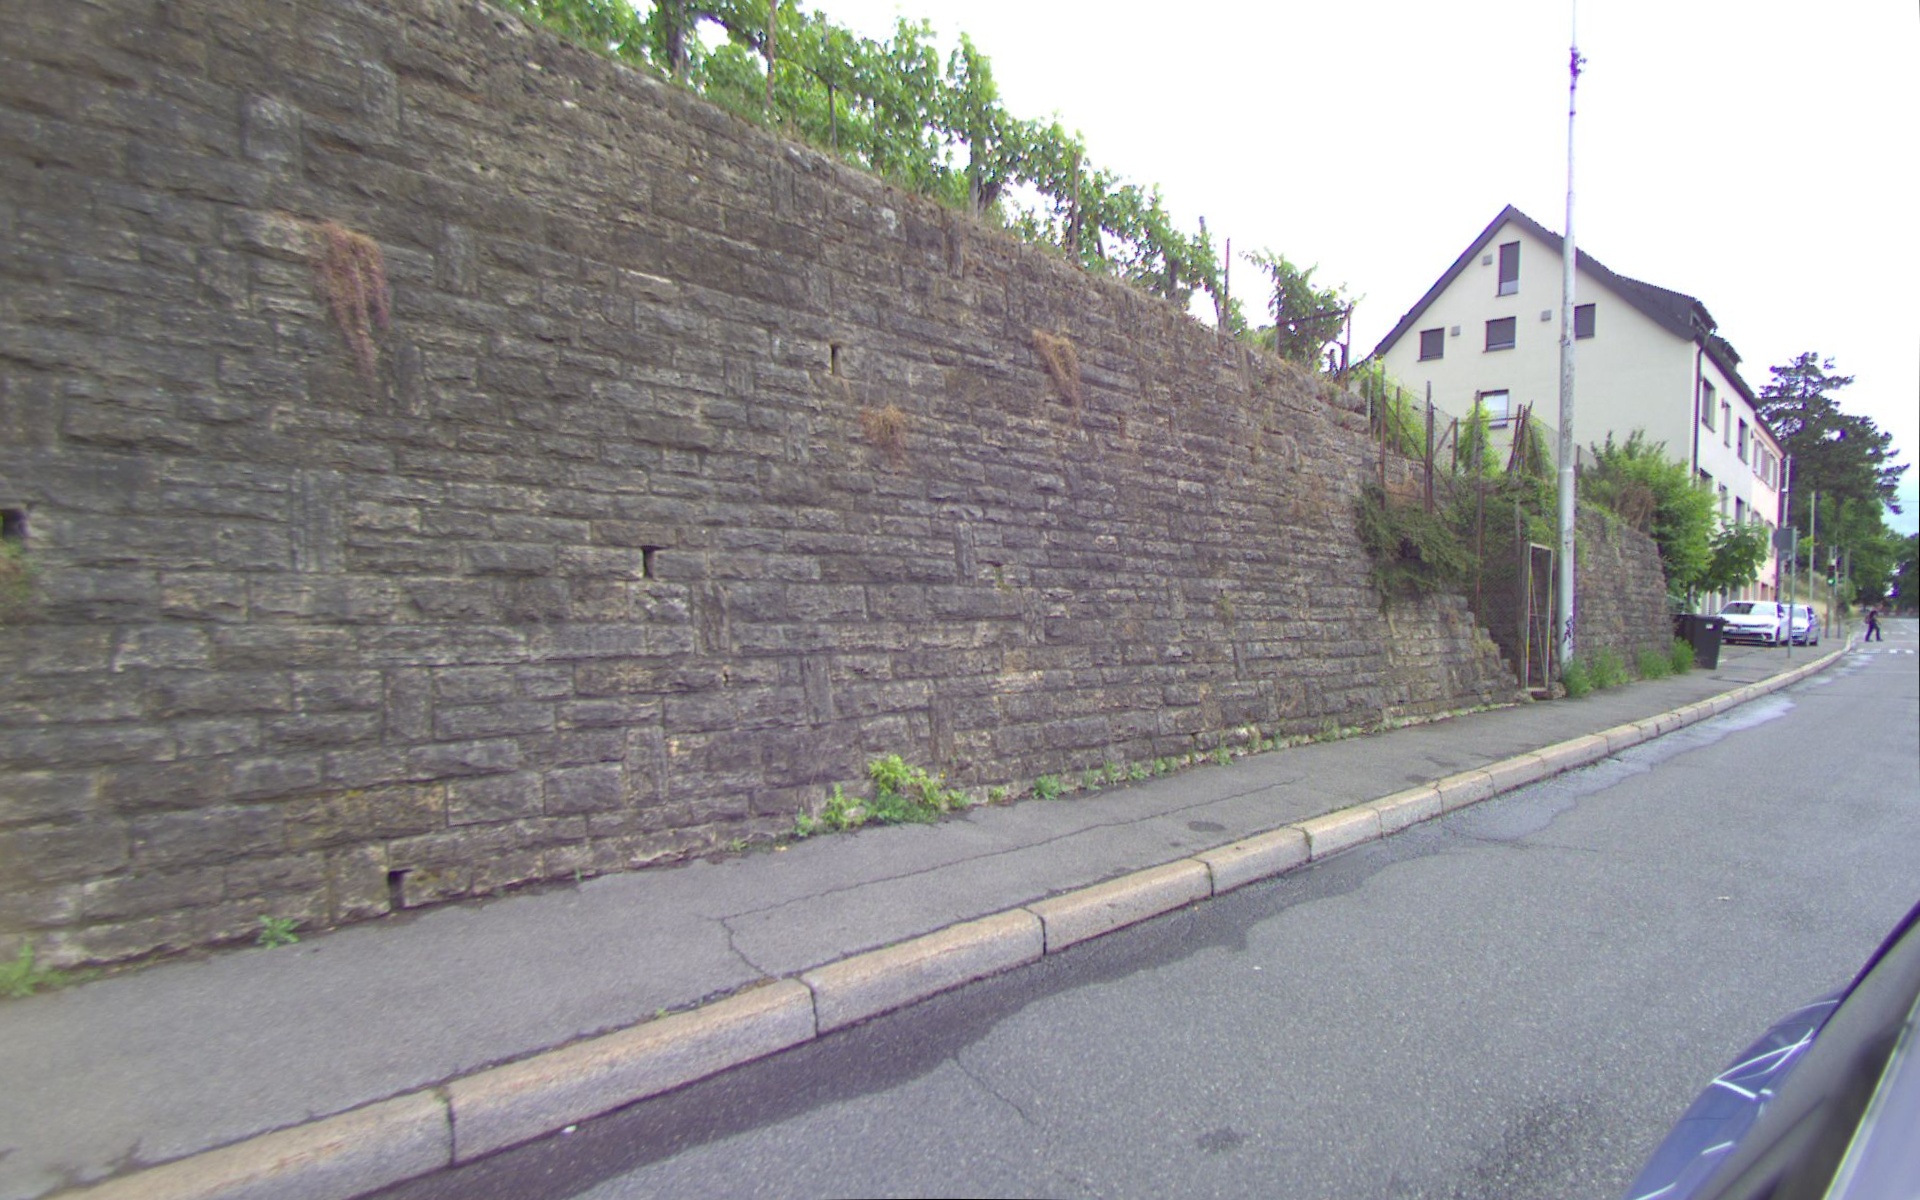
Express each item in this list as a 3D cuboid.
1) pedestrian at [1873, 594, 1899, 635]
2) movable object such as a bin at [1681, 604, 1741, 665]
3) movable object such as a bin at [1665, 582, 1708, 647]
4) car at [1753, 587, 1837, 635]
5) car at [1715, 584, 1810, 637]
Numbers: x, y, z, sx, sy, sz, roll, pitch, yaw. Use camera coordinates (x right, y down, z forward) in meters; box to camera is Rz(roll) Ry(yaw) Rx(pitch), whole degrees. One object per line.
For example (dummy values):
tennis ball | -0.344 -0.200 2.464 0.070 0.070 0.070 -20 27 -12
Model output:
pedestrian | 40.480 0.623 44.254 0.683 1.733 0.735 1 0 -39
movable object such as a bin | 14.901 0.669 20.086 0.860 1.141 0.810 0 1 -43
movable object such as a bin | 18.024 0.344 25.102 0.750 1.561 1.049 1 0 41
car | 29.434 0.338 35.625 4.177 1.595 1.730 -1 0 -43
car | 25.735 0.285 32.416 3.987 1.595 1.796 -1 0 -43
